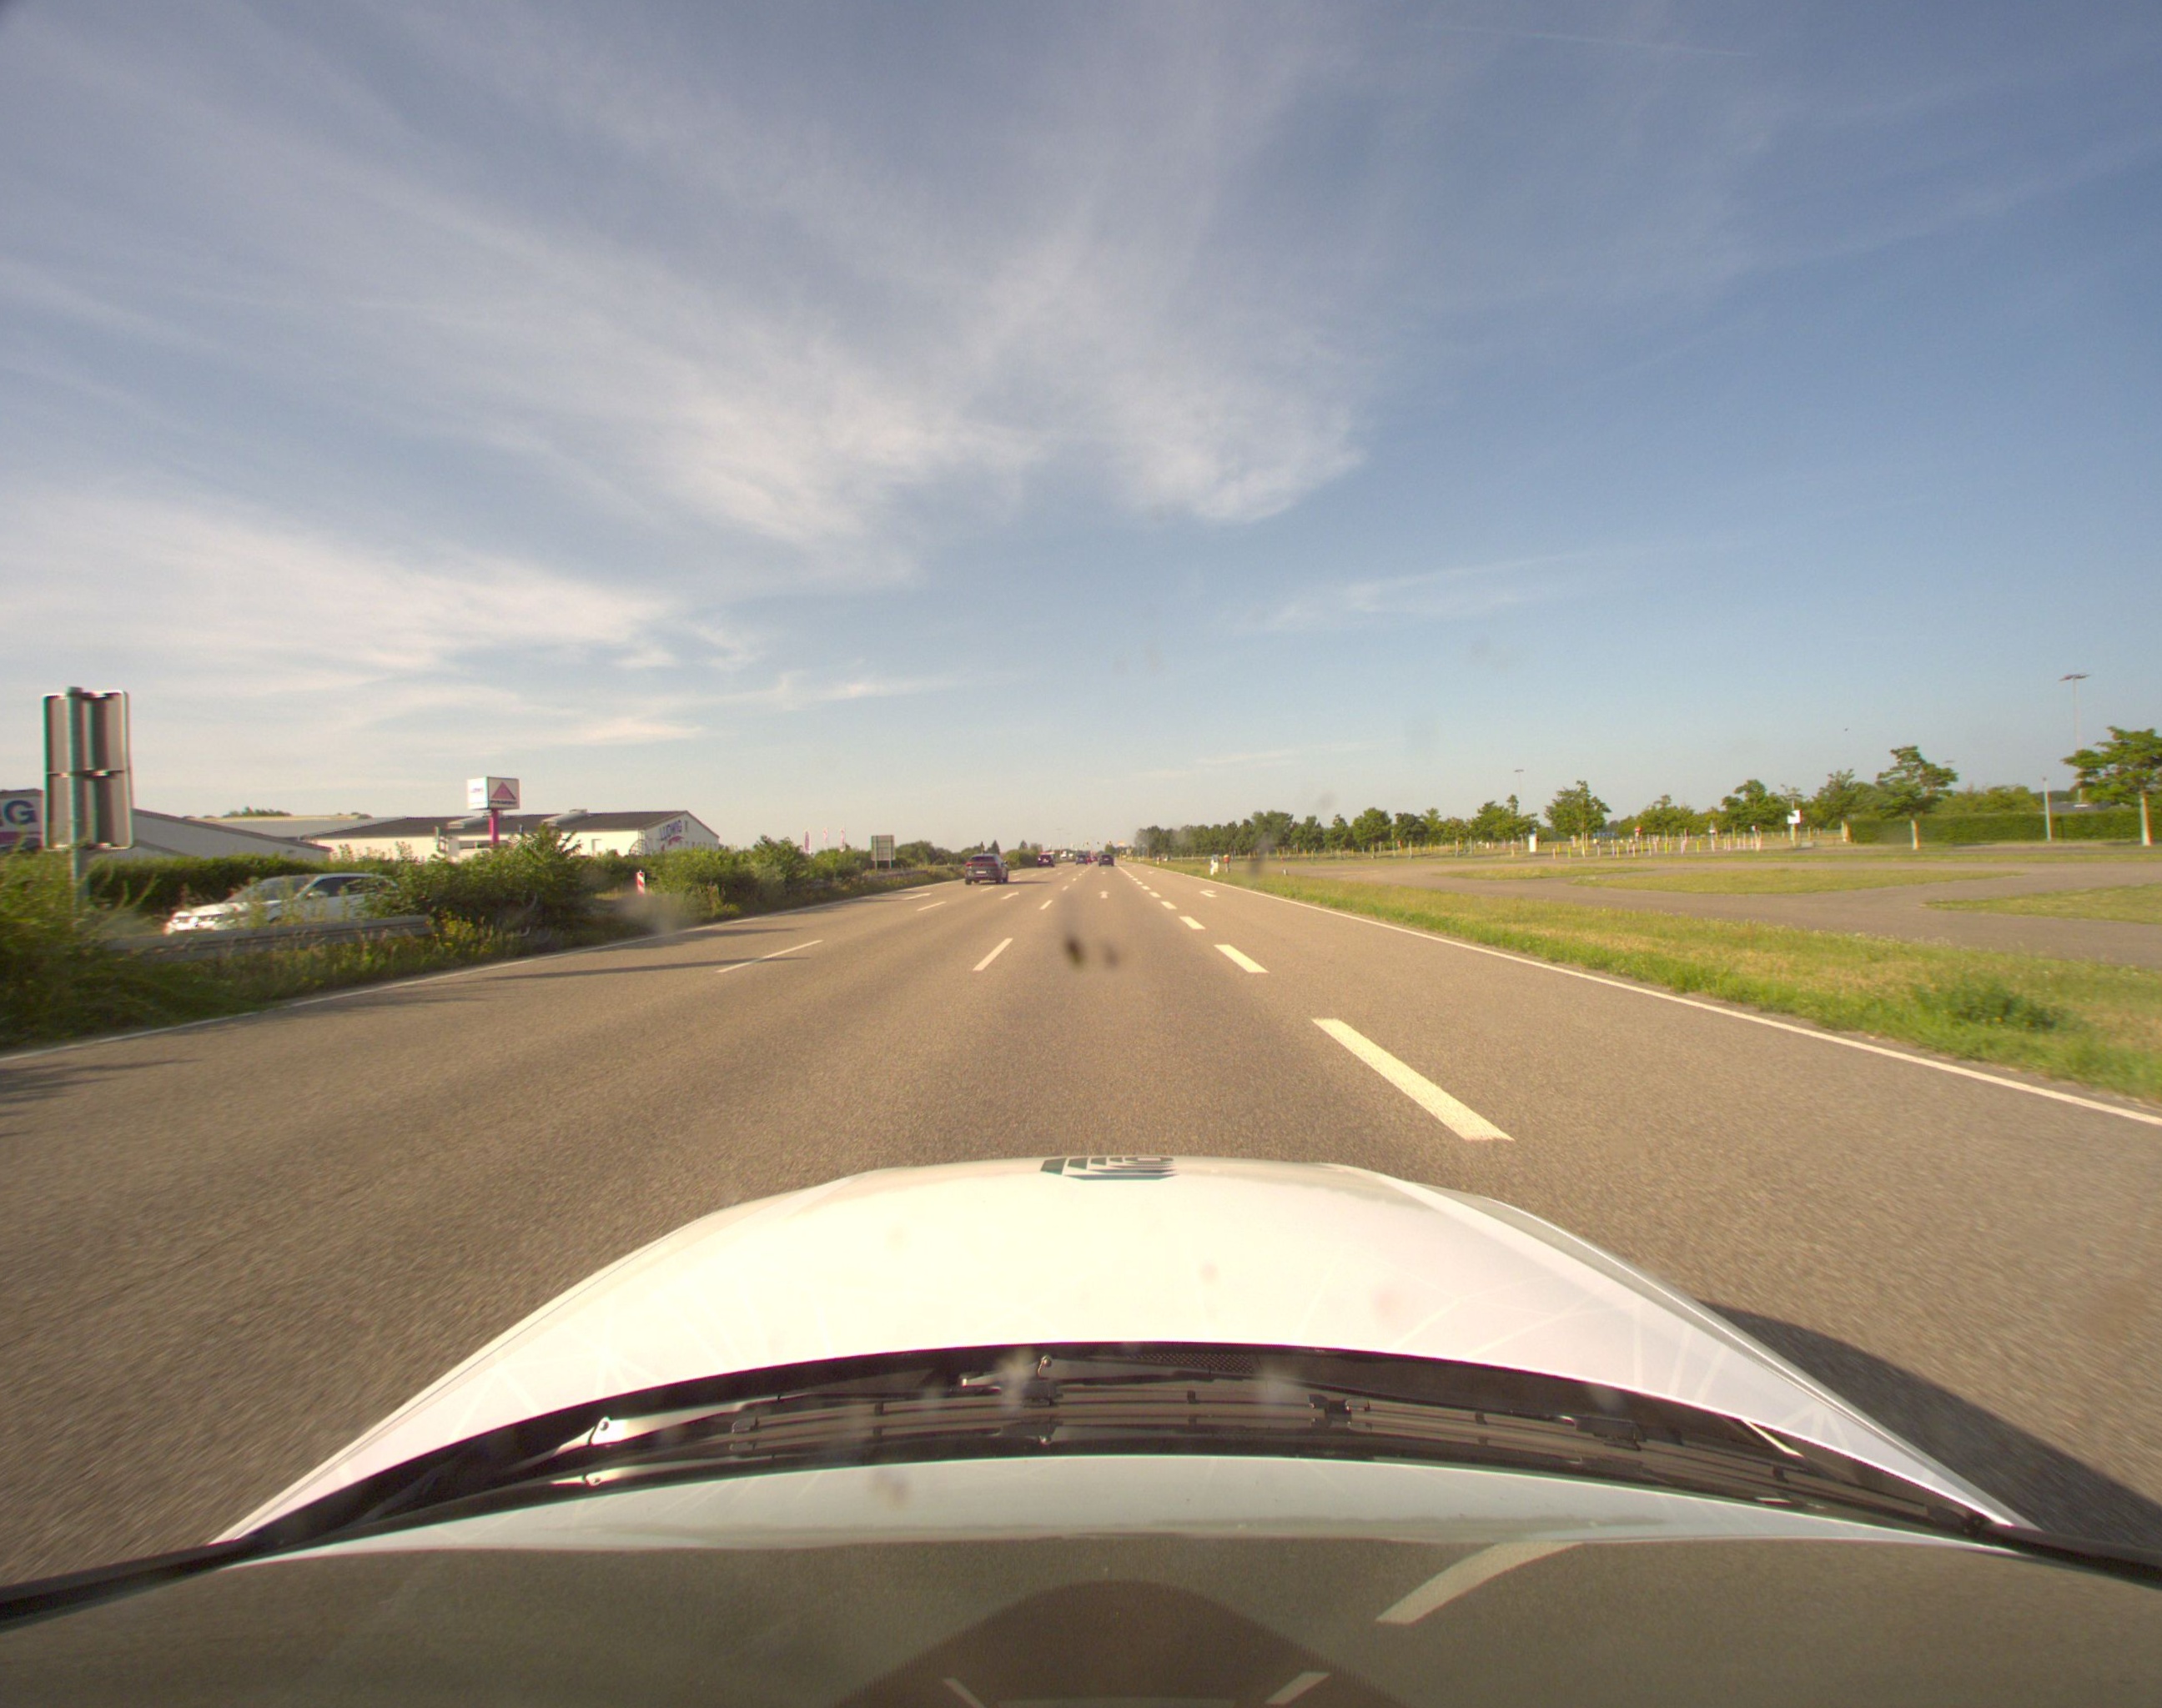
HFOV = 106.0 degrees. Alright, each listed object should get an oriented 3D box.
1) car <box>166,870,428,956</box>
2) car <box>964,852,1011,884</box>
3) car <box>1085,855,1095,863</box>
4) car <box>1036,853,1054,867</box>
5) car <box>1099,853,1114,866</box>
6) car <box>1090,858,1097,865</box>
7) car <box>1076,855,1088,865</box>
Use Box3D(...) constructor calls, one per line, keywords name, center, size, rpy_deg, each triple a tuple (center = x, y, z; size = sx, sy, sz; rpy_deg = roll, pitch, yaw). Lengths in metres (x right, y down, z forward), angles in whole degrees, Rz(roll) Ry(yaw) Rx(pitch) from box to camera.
Box3D(name="car", center=(-16.749, 1.184, 17.732), size=(1.695, 1.527, 4.002), rpy_deg=(-2, 0, 2))
Box3D(name="car", center=(-4.891, 0.695, 42.991), size=(1.839, 1.612, 4.402), rpy_deg=(0, 0, 1))
Box3D(name="car", center=(1.710, 0.986, 154.100), size=(1.641, 1.463, 3.982), rpy_deg=(0, 0, 1))
Box3D(name="car", center=(-4.414, 0.688, 101.644), size=(1.925, 1.680, 4.402), rpy_deg=(0, 0, 1))
Box3D(name="car", center=(3.321, 0.671, 105.574), size=(1.925, 1.680, 4.402), rpy_deg=(0, 0, 1))
Box3D(name="car", center=(3.114, 1.782, 200.740), size=(1.639, 1.728, 3.401), rpy_deg=(-1, -1, 1))
Box3D(name="car", center=(0.240, 0.932, 129.011), size=(1.806, 1.463, 4.402), rpy_deg=(0, 0, 1))
